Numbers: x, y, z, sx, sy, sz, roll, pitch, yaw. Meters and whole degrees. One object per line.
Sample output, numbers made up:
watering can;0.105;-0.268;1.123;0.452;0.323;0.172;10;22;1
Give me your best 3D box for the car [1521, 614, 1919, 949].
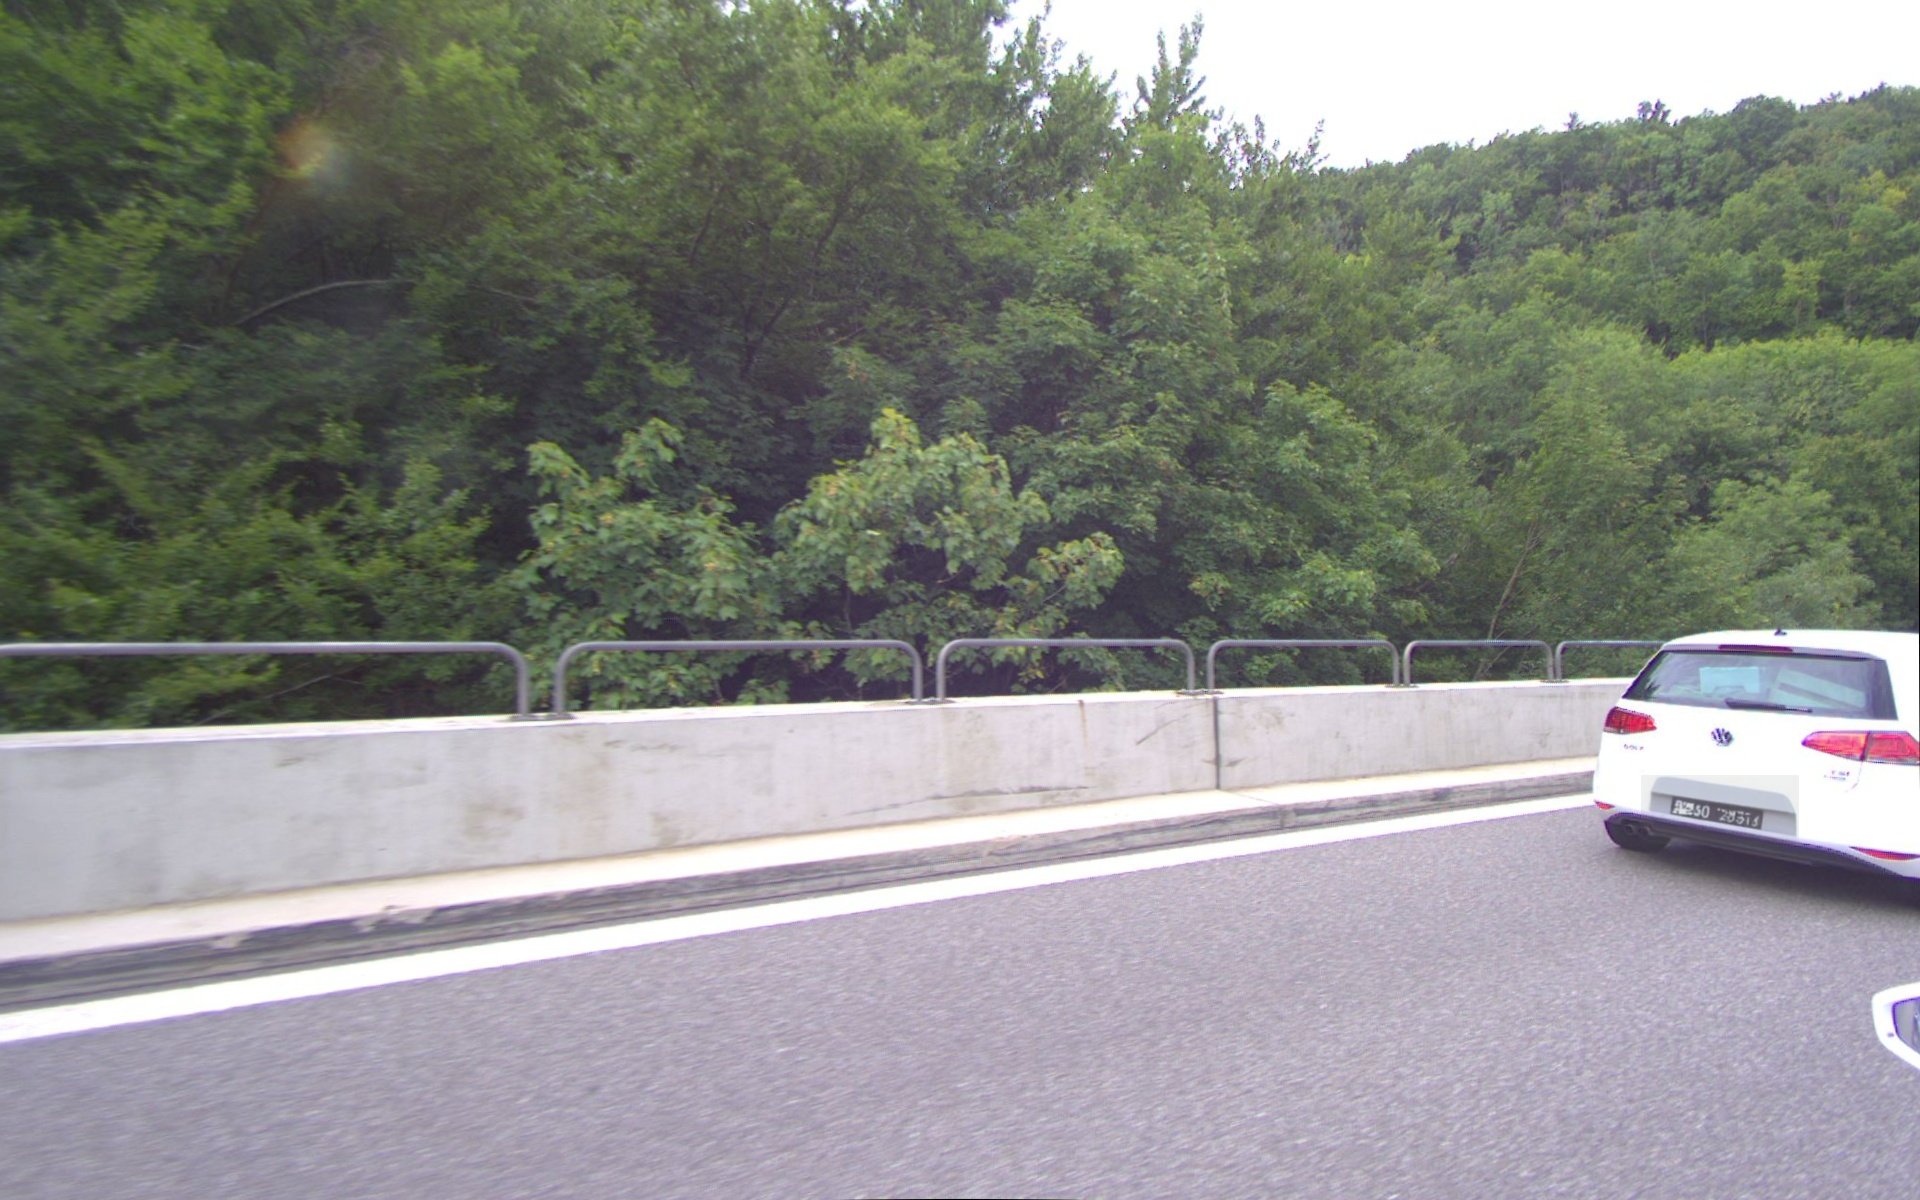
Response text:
car;5.913;0.889;6.512;4.571;1.501;1.837;1;0;-29
